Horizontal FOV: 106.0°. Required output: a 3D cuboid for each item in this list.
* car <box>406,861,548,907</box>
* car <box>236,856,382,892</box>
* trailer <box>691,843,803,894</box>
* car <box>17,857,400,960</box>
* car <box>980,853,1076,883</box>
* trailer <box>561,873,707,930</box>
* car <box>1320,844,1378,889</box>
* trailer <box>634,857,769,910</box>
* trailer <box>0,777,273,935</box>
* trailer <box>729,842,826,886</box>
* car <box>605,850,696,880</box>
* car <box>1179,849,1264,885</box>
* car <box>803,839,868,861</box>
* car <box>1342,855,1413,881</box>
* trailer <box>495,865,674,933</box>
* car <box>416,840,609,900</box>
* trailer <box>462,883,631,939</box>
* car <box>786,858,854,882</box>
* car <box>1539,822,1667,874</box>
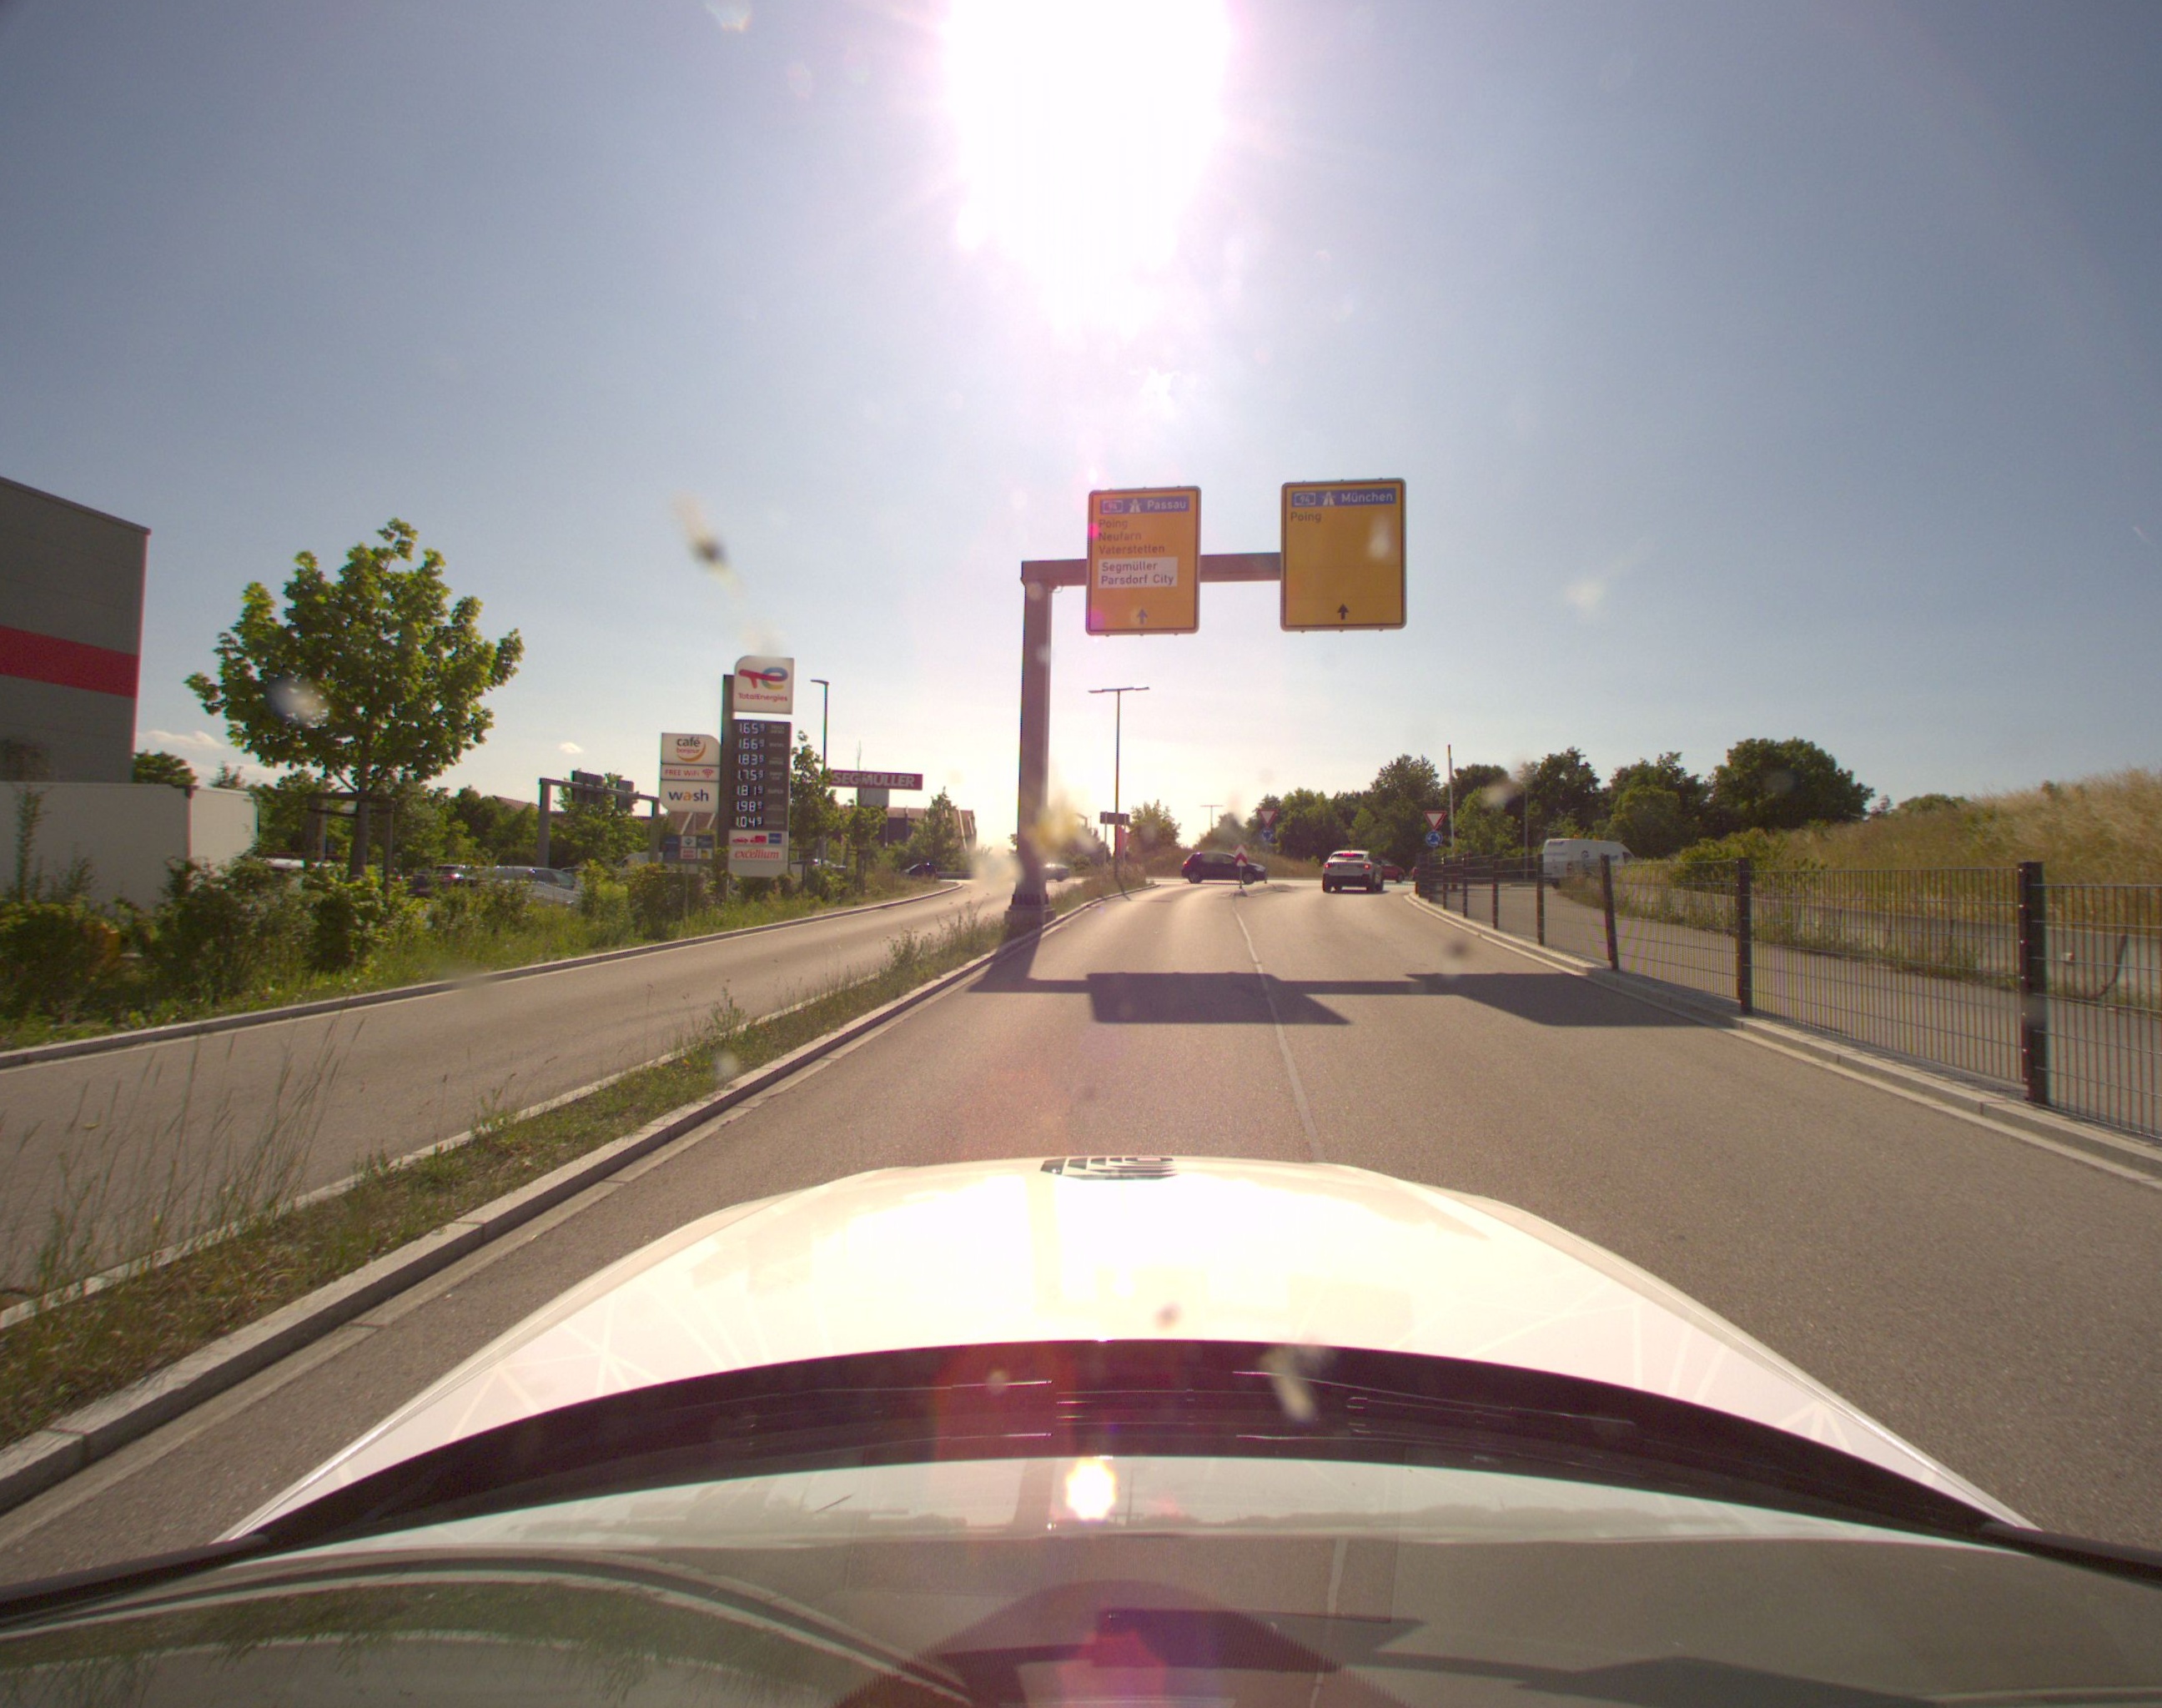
[{"bbox_3d":[-20.995,1.005,28.545,1.811,1.464,4.004,-1,-1,4],"label":"car"},{"bbox_3d":[-34.035,0.866,36.014,1.802,1.464,4.483,1,-1,39],"label":"car"},{"bbox_3d":[-12.376,0.550,30.167,3.704,1.772,1.792,2,-1,-27],"label":"trailer"},{"bbox_3d":[-14.361,0.867,13.749,4.002,1.536,1.707,2,-1,-22],"label":"car"},{"bbox_3d":[-2.844,0.739,43.083,4.810,1.452,2.012,1,-1,35],"label":"car"},{"bbox_3d":[-11.341,1.203,20.802,2.900,1.322,1.386,1,-1,-8],"label":"trailer"},{"bbox_3d":[10.344,0.461,31.240,1.825,1.596,4.347,0,-1,22],"label":"car"},{"bbox_3d":[-12.111,0.940,26.122,3.703,1.452,1.693,5,-2,-26],"label":"trailer"},{"bbox_3d":[-13.891,0.033,11.350,3.243,2.014,1.734,2,-1,-23],"label":"trailer"},{"bbox_3d":[-12.786,0.398,34.328,3.704,1.772,1.792,0,0,-27],"label":"trailer"},{"bbox_3d":[-35.111,0.874,66.542,6.235,2.234,2.039,1,-1,-1],"label":"car"},{"bbox_3d":[6.893,0.605,39.833,3.920,1.618,1.825,1,-1,14],"label":"car"},{"bbox_3d":[-18.232,-0.264,60.584,4.306,1.530,1.772,1,-1,-36],"label":"car"},{"bbox_3d":[17.303,0.819,47.567,3.821,1.405,1.614,2,-1,-23],"label":"car"},{"bbox_3d":[-11.488,1.037,19.040,3.184,1.483,1.542,1,-1,-13],"label":"trailer"},{"bbox_3d":[-15.769,0.420,22.960,1.787,1.483,4.508,1,0,9],"label":"car"},{"bbox_3d":[-11.270,1.190,17.354,2.778,1.086,1.311,2,-1,-23],"label":"trailer"},{"bbox_3d":[-16.401,1.001,51.158,4.285,1.351,1.582,1,-1,31],"label":"car"},{"bbox_3d":[27.511,-0.283,42.931,6.185,2.554,2.079,1,-1,-16],"label":"car"}]
